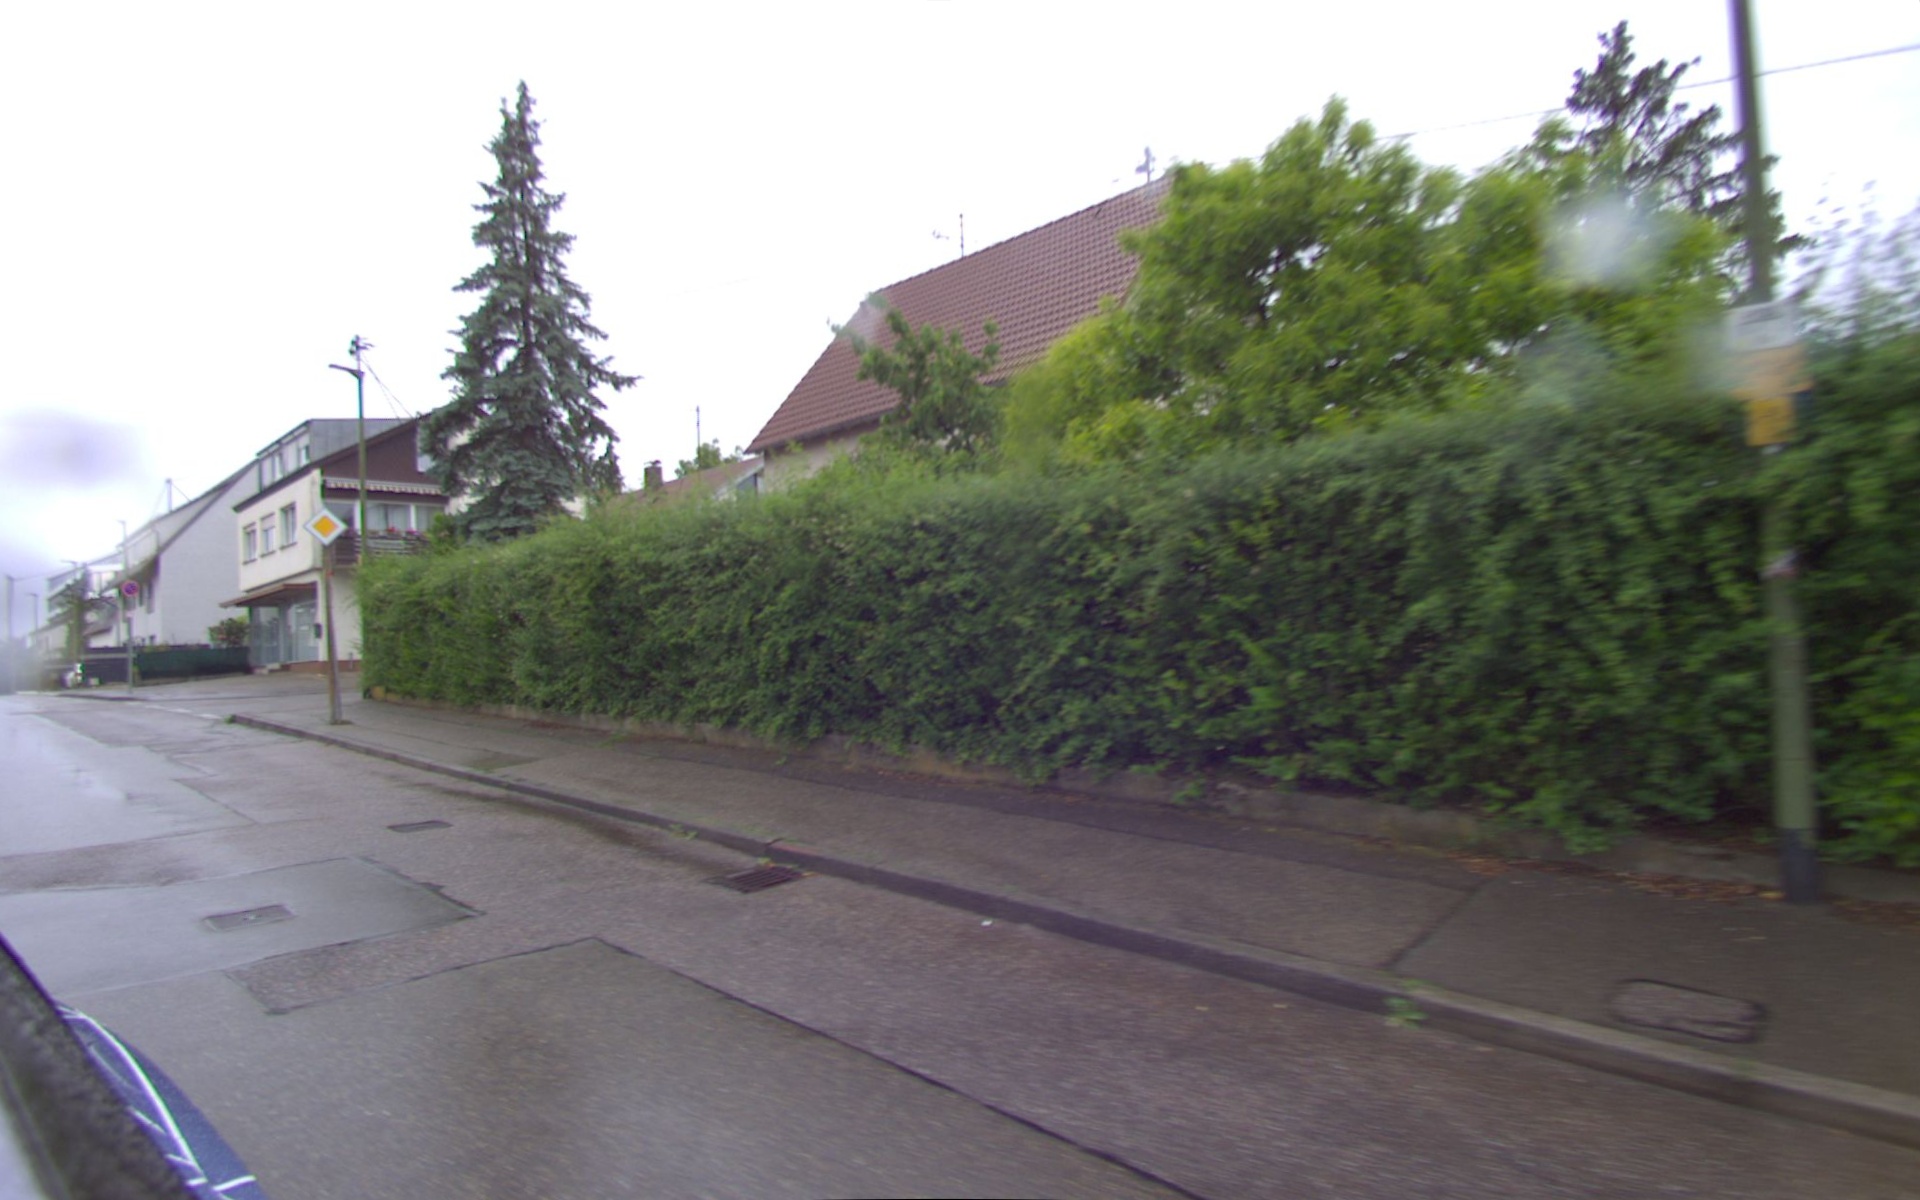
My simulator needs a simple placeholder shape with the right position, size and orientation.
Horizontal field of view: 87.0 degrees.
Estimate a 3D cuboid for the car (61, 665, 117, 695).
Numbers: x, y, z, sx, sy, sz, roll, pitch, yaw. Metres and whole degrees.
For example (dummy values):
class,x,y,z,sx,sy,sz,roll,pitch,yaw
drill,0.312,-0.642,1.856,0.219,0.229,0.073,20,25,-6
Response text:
class,x,y,z,sx,sy,sz,roll,pitch,yaw
car,-48.753,4.442,56.627,3.998,1.544,1.873,-3,-3,41
